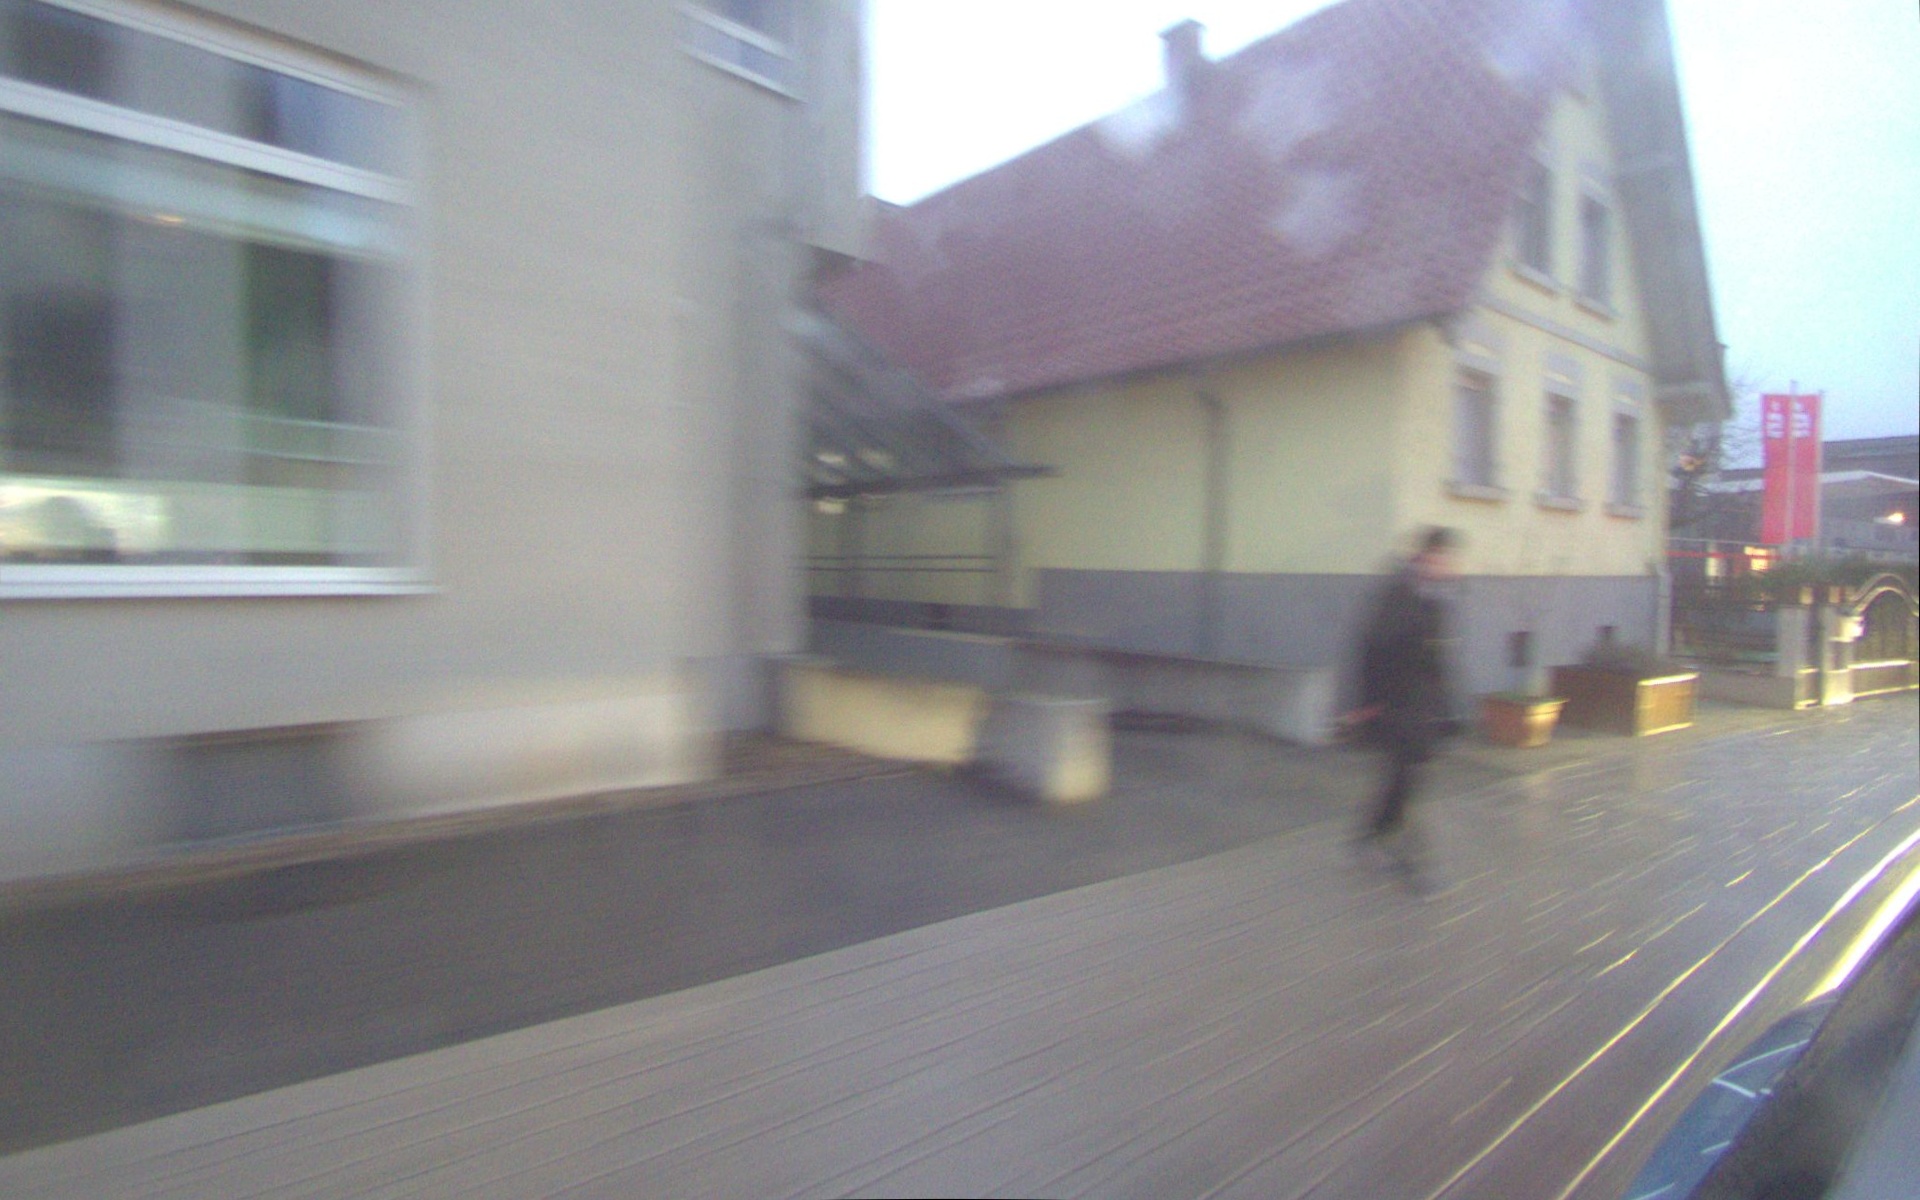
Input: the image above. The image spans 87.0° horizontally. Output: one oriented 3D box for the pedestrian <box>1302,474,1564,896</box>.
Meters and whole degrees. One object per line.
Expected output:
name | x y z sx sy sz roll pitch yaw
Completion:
pedestrian | 2.217 0.350 4.759 0.856 1.751 0.747 2 0 -37
